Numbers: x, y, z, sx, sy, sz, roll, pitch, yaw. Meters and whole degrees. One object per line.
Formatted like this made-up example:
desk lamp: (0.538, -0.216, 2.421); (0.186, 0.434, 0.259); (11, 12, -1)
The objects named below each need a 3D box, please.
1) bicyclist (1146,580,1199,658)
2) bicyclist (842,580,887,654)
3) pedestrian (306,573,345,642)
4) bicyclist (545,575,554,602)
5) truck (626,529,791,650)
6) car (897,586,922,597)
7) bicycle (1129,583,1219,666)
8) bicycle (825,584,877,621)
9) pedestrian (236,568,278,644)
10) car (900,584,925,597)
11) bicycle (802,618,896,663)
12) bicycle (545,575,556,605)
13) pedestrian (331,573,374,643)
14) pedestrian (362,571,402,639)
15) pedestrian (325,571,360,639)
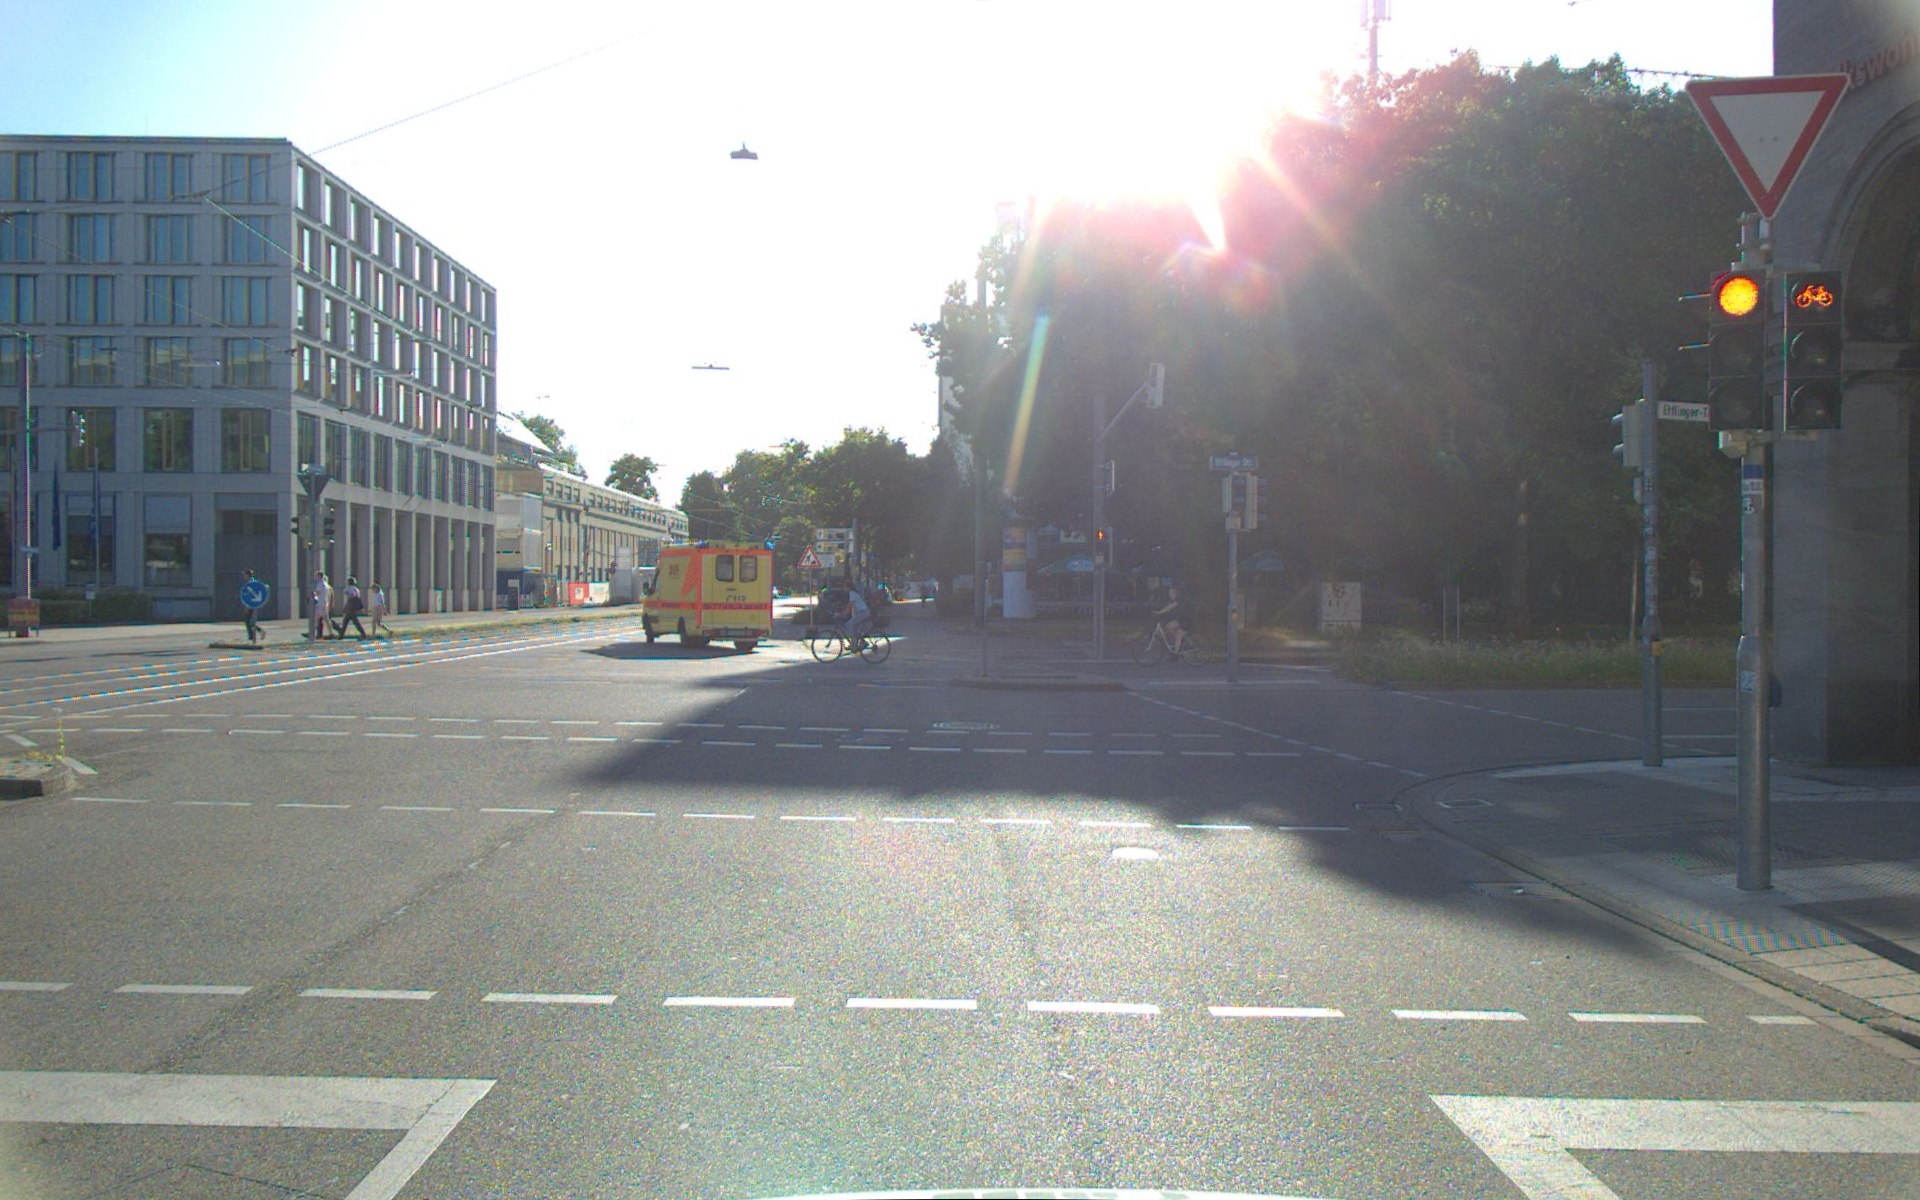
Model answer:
bicyclist: (4.596, 0.412, 35.790); (1.052, 1.669, 0.597); (0, 0, 0)
bicyclist: (-2.084, 0.369, 35.886); (0.956, 1.587, 0.574); (0, 0, -5)
pedestrian: (-16.965, 0.204, 44.257); (0.723, 1.835, 0.716); (0, 0, 4)
bicyclist: (-32.147, -0.890, 129.596); (0.559, 2.059, 0.761); (0, 0, -2)
truck: (-7.035, -0.288, 45.469); (2.684, 3.068, 6.433); (0, 0, -27)
car: (-6.425, -1.069, 211.054); (3.153, 1.285, 1.372); (1, 0, -2)
bicycle: (4.631, 0.518, 35.791); (1.858, 1.765, 0.597); (0, 0, 0)
bicycle: (-5.353, 0.129, 81.248); (2.495, 1.774, 1.037); (1, 0, -1)
pedestrian: (-18.239, 0.145, 42.942); (0.785, 1.951, 0.637); (0, 0, 4)
car: (-6.124, -1.223, 213.333); (3.152, 1.616, 1.445); (1, 0, -5)
bicycle: (-2.410, 0.871, 35.854); (2.024, 0.949, 0.574); (0, 0, -5)
bicycle: (-32.144, -0.796, 129.709); (0.559, 2.336, 1.422); (0, 0, -2)
pedestrian: (-16.028, 0.218, 43.651); (0.852, 1.835, 0.664); (0, 0, 4)
pedestrian: (-15.586, 0.134, 44.611); (0.851, 1.835, 0.532); (0, 0, 4)
pedestrian: (-16.869, 0.134, 45.181); (0.723, 1.835, 0.532); (0, 0, 4)
